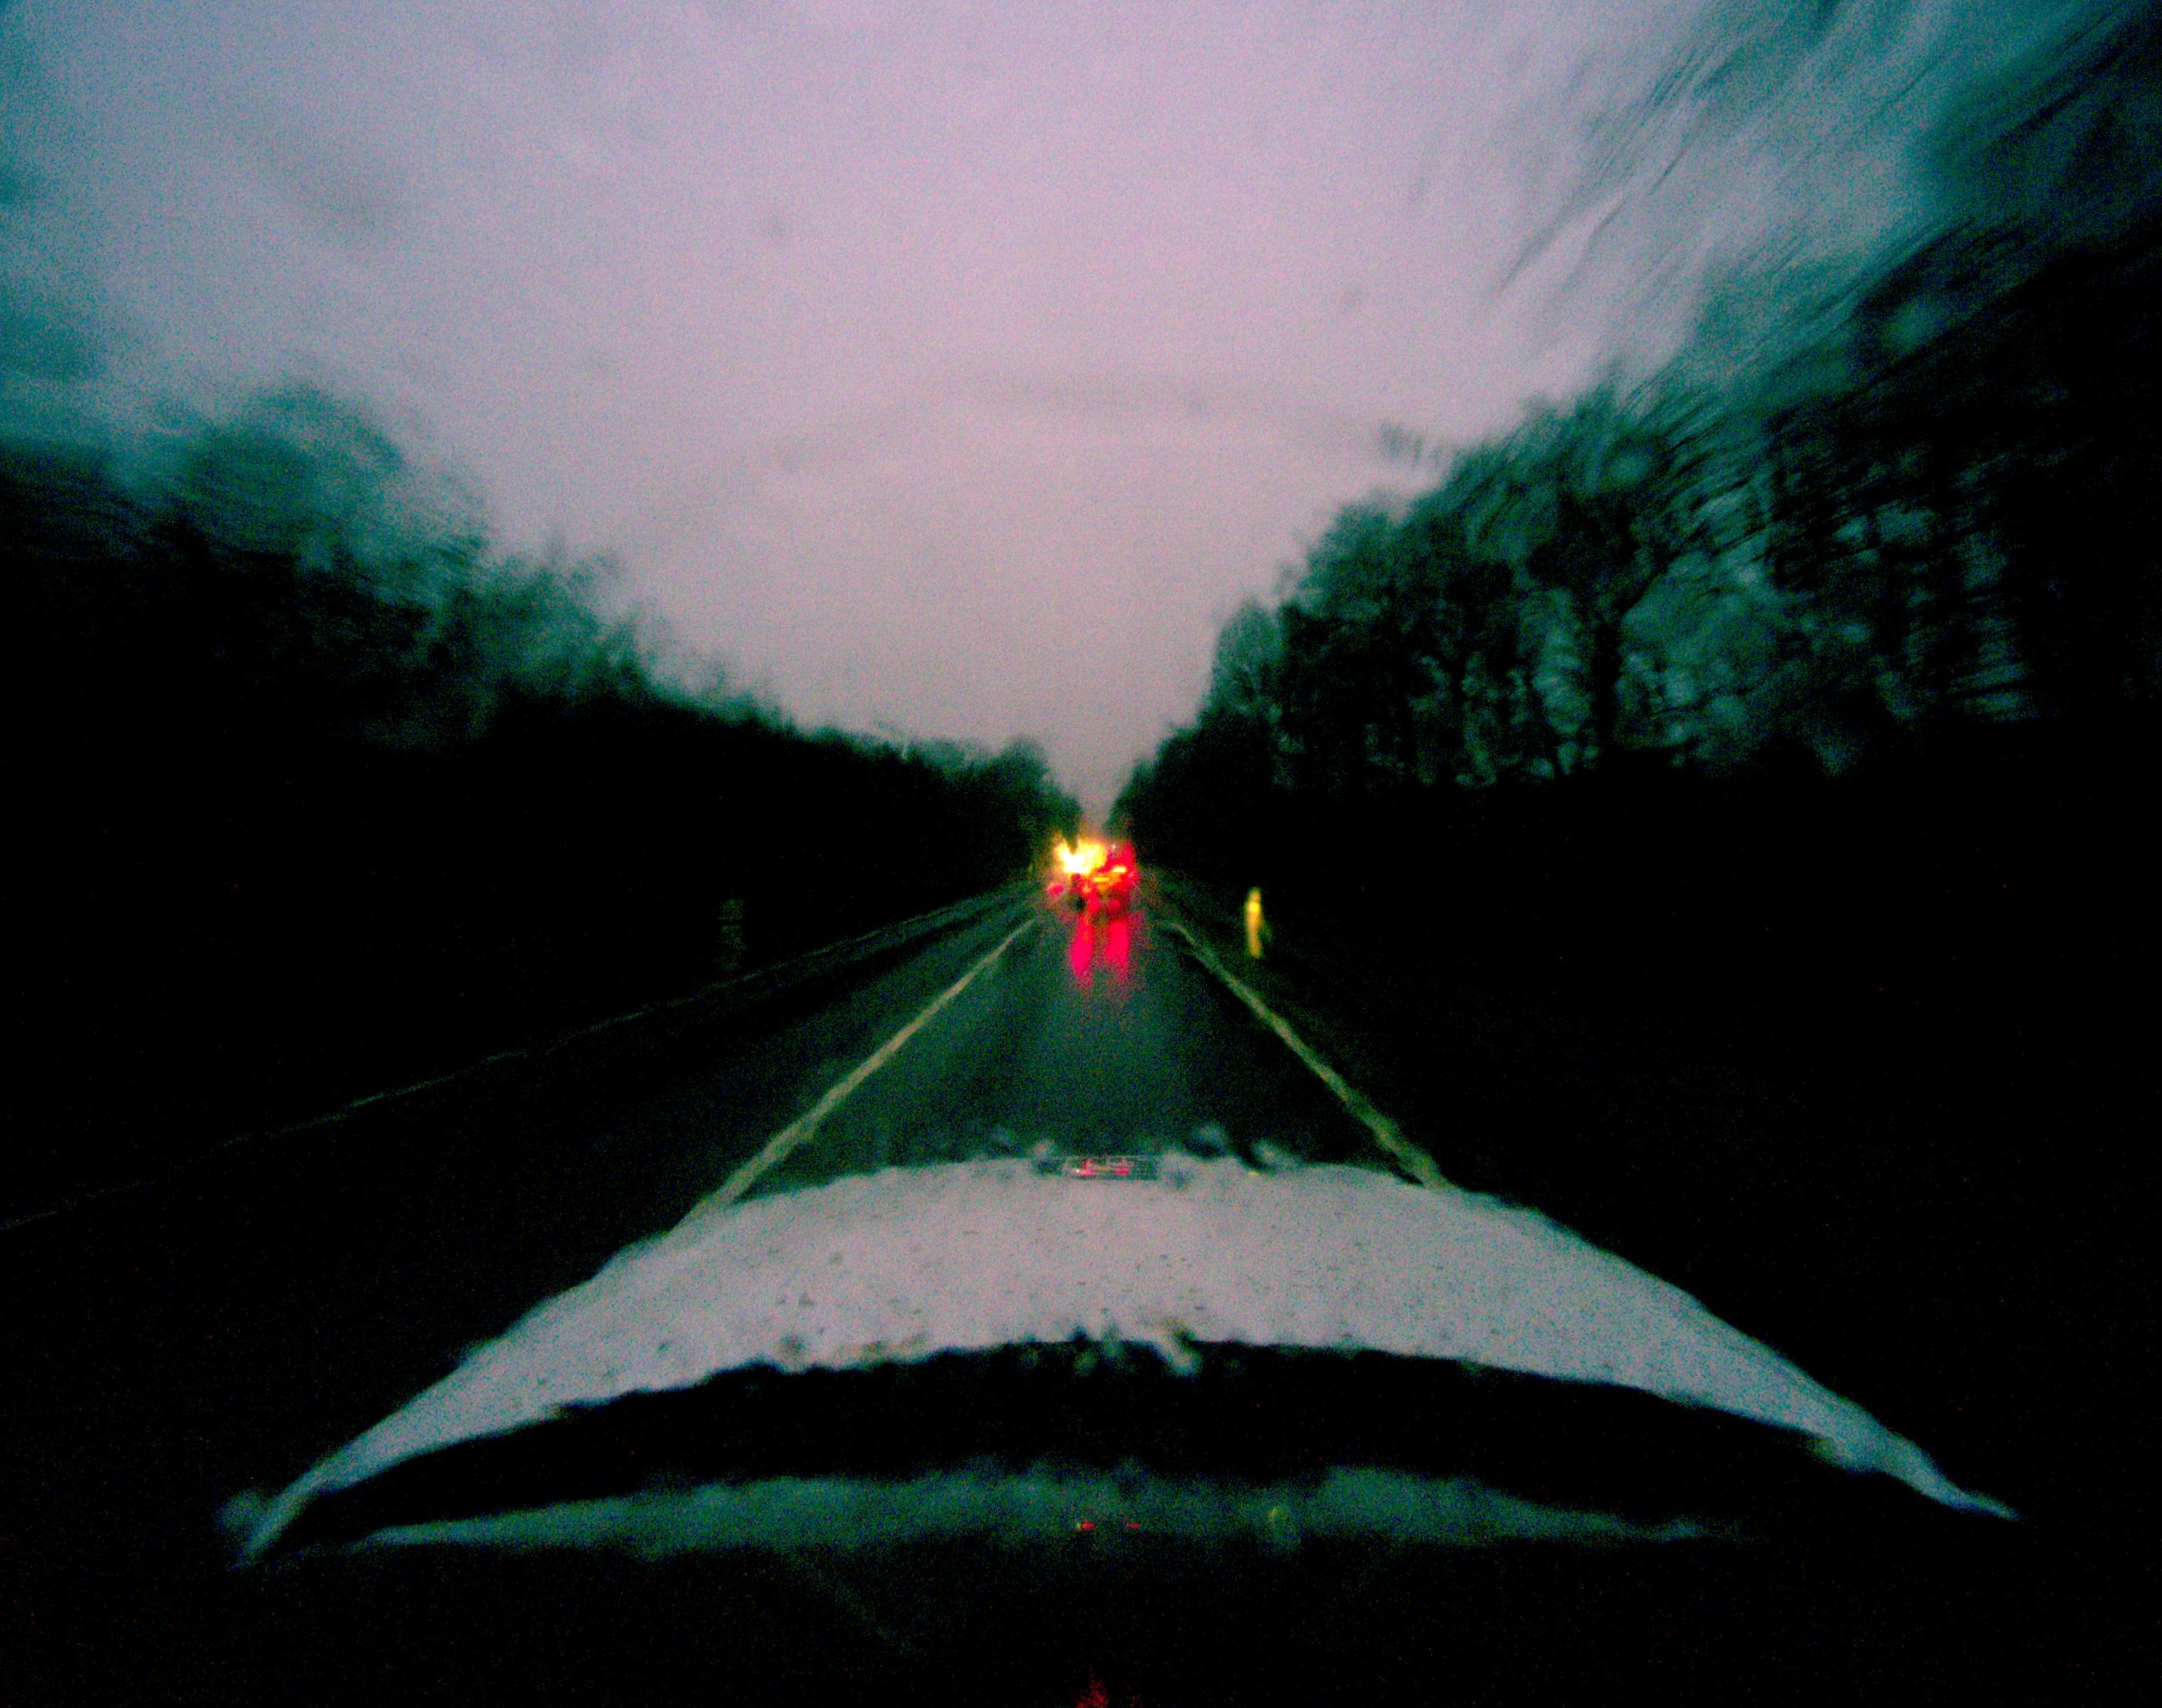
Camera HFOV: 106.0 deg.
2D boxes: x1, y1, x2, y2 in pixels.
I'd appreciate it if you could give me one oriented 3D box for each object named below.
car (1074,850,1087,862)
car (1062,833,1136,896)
[{"bbox_3d":[-0.045,0.213,107.627,1.743,1.552,3.993,-1,0,0],"label":"car"},{"bbox_3d":[0.582,0.290,26.683,2.190,1.877,4.828,0,1,1],"label":"car"}]
